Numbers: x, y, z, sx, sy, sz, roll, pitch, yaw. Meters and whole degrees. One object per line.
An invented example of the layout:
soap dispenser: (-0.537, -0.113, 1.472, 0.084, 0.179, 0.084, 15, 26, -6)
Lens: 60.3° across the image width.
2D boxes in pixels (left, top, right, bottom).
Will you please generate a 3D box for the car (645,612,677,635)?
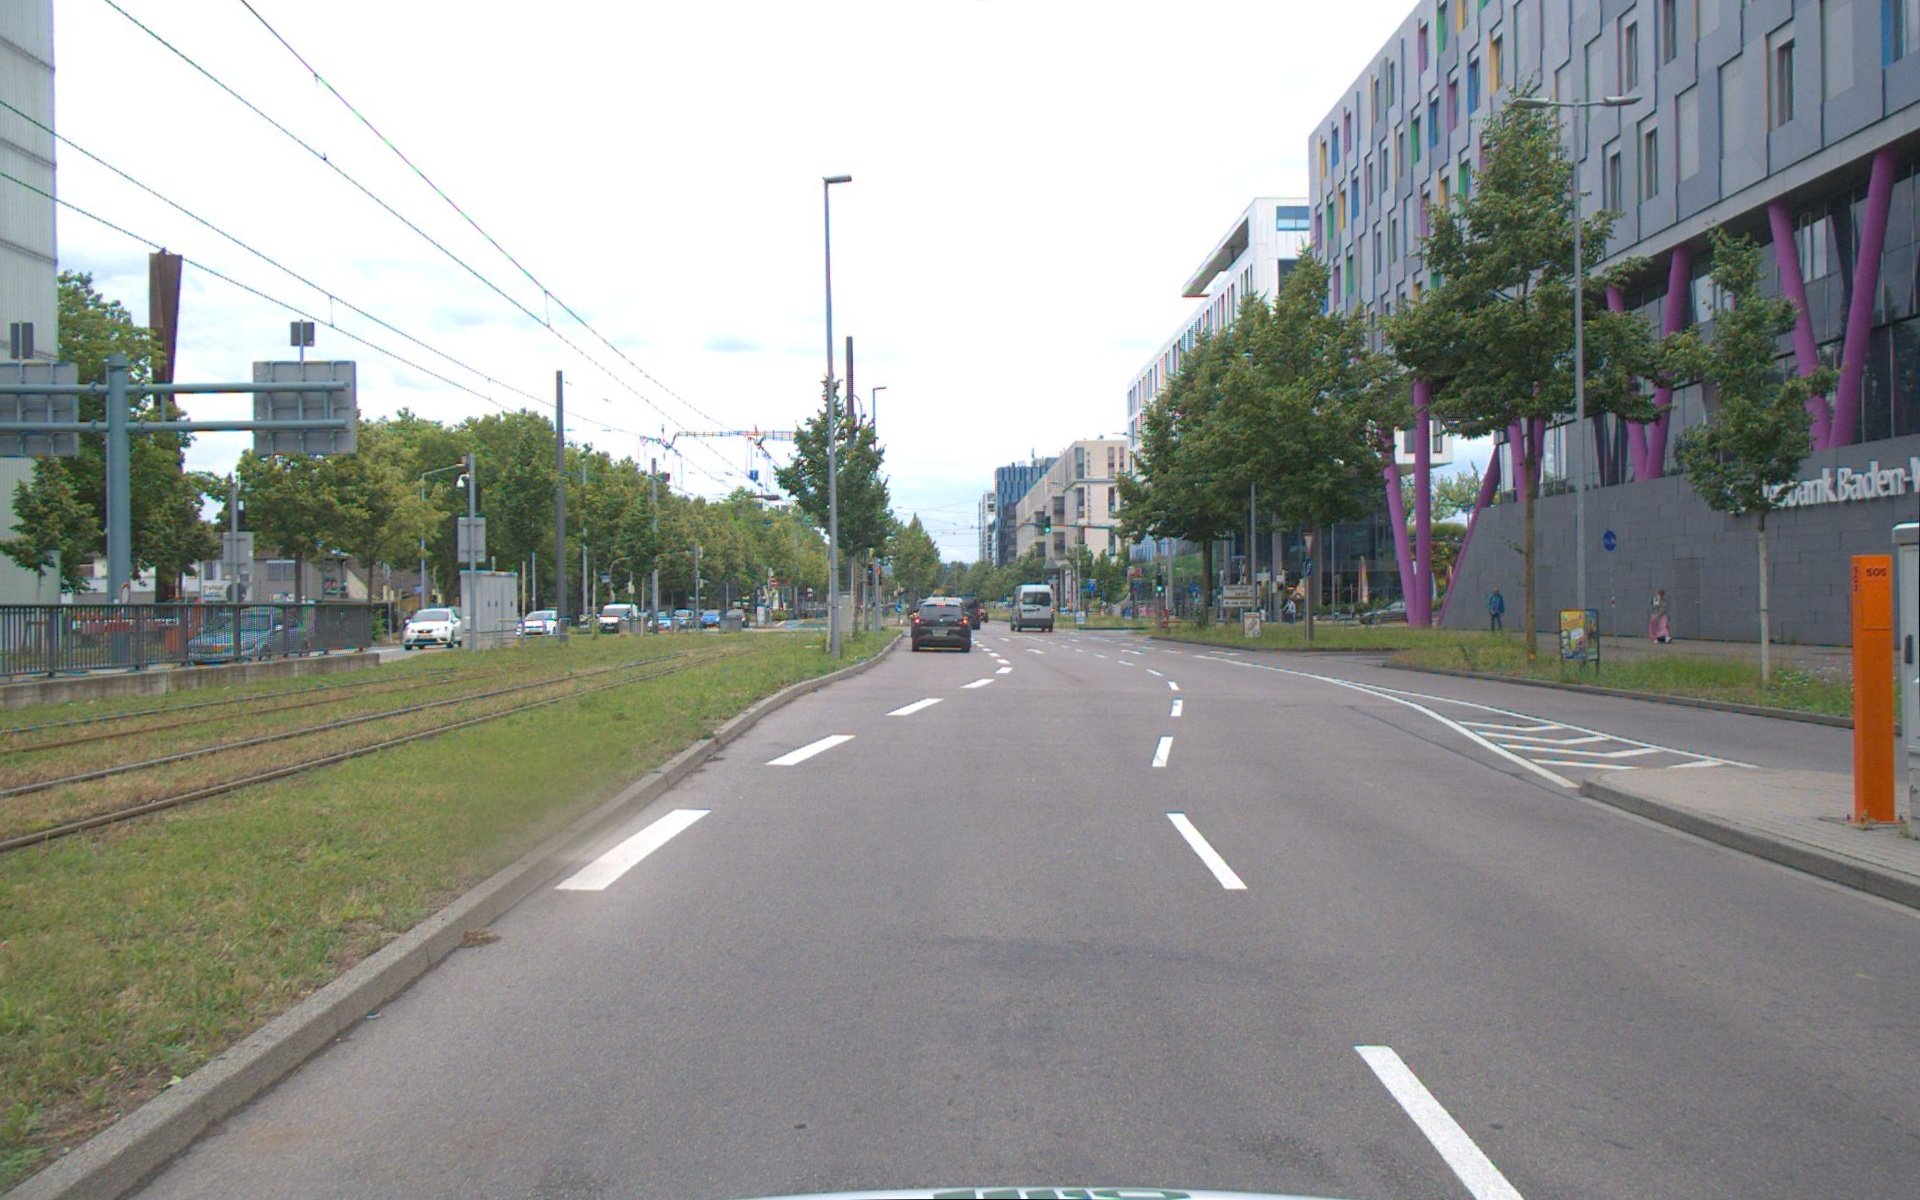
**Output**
car: (-20.986, 1.629, 116.204, 1.695, 1.470, 4.917, -3, 0, -5)

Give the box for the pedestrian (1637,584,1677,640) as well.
pedestrian: (20.313, 0.336, 48.239, 0.768, 1.610, 0.914, -1, 0, 0)

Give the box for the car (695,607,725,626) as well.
car: (-21.104, 1.377, 139.783, 1.924, 1.616, 4.687, 0, 0, -2)

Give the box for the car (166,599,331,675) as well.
car: (-16.275, 0.803, 38.125, 1.746, 1.541, 4.970, 0, 1, -2)

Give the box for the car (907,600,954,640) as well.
car: (-1.289, 0.866, 74.526, 1.952, 1.711, 4.001, 1, 0, 1)

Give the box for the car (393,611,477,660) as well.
car: (-18.987, 1.252, 60.035, 1.954, 1.613, 4.375, -1, 1, -5)

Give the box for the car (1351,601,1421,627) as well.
car: (27.950, 0.896, 108.652, 4.163, 1.643, 1.758, -1, 0, 1)

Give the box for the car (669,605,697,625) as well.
car: (-23.846, 1.304, 142.436, 1.760, 1.598, 4.576, 2, -1, -3)

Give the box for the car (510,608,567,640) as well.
car: (-21.132, 1.167, 83.034, 1.727, 1.505, 4.571, -2, 0, -1)

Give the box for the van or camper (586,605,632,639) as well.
van or camper: (-21.366, 1.301, 100.755, 1.851, 1.933, 5.122, -2, 0, -2)

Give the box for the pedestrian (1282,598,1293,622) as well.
pedestrian: (21.883, 0.656, 110.395, 0.602, 1.632, 0.619, -1, 0, 1)

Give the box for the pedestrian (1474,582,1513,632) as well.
pedestrian: (19.372, 0.242, 60.123, 1.030, 1.801, 1.137, -1, 0, 0)

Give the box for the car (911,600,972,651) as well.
car: (-0.586, 0.725, 49.041, 1.708, 1.442, 3.999, 1, 0, -2)

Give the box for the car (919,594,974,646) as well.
car: (-0.468, 0.645, 55.465, 1.766, 1.653, 3.999, -1, 0, -1)

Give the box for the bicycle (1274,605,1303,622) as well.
bicycle: (21.920, 0.929, 110.393, 1.755, 1.104, 0.618, -1, 0, 1)

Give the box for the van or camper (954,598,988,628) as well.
van or camper: (0.620, 0.772, 97.588, 1.953, 1.643, 4.789, 0, 1, 0)

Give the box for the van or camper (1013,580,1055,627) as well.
van or camper: (3.996, 0.148, 90.178, 2.066, 2.397, 4.923, 0, 2, 0)

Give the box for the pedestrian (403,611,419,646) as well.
pedestrian: (-29.809, 1.557, 89.809, 0.765, 1.864, 0.771, 0, 0, -18)
